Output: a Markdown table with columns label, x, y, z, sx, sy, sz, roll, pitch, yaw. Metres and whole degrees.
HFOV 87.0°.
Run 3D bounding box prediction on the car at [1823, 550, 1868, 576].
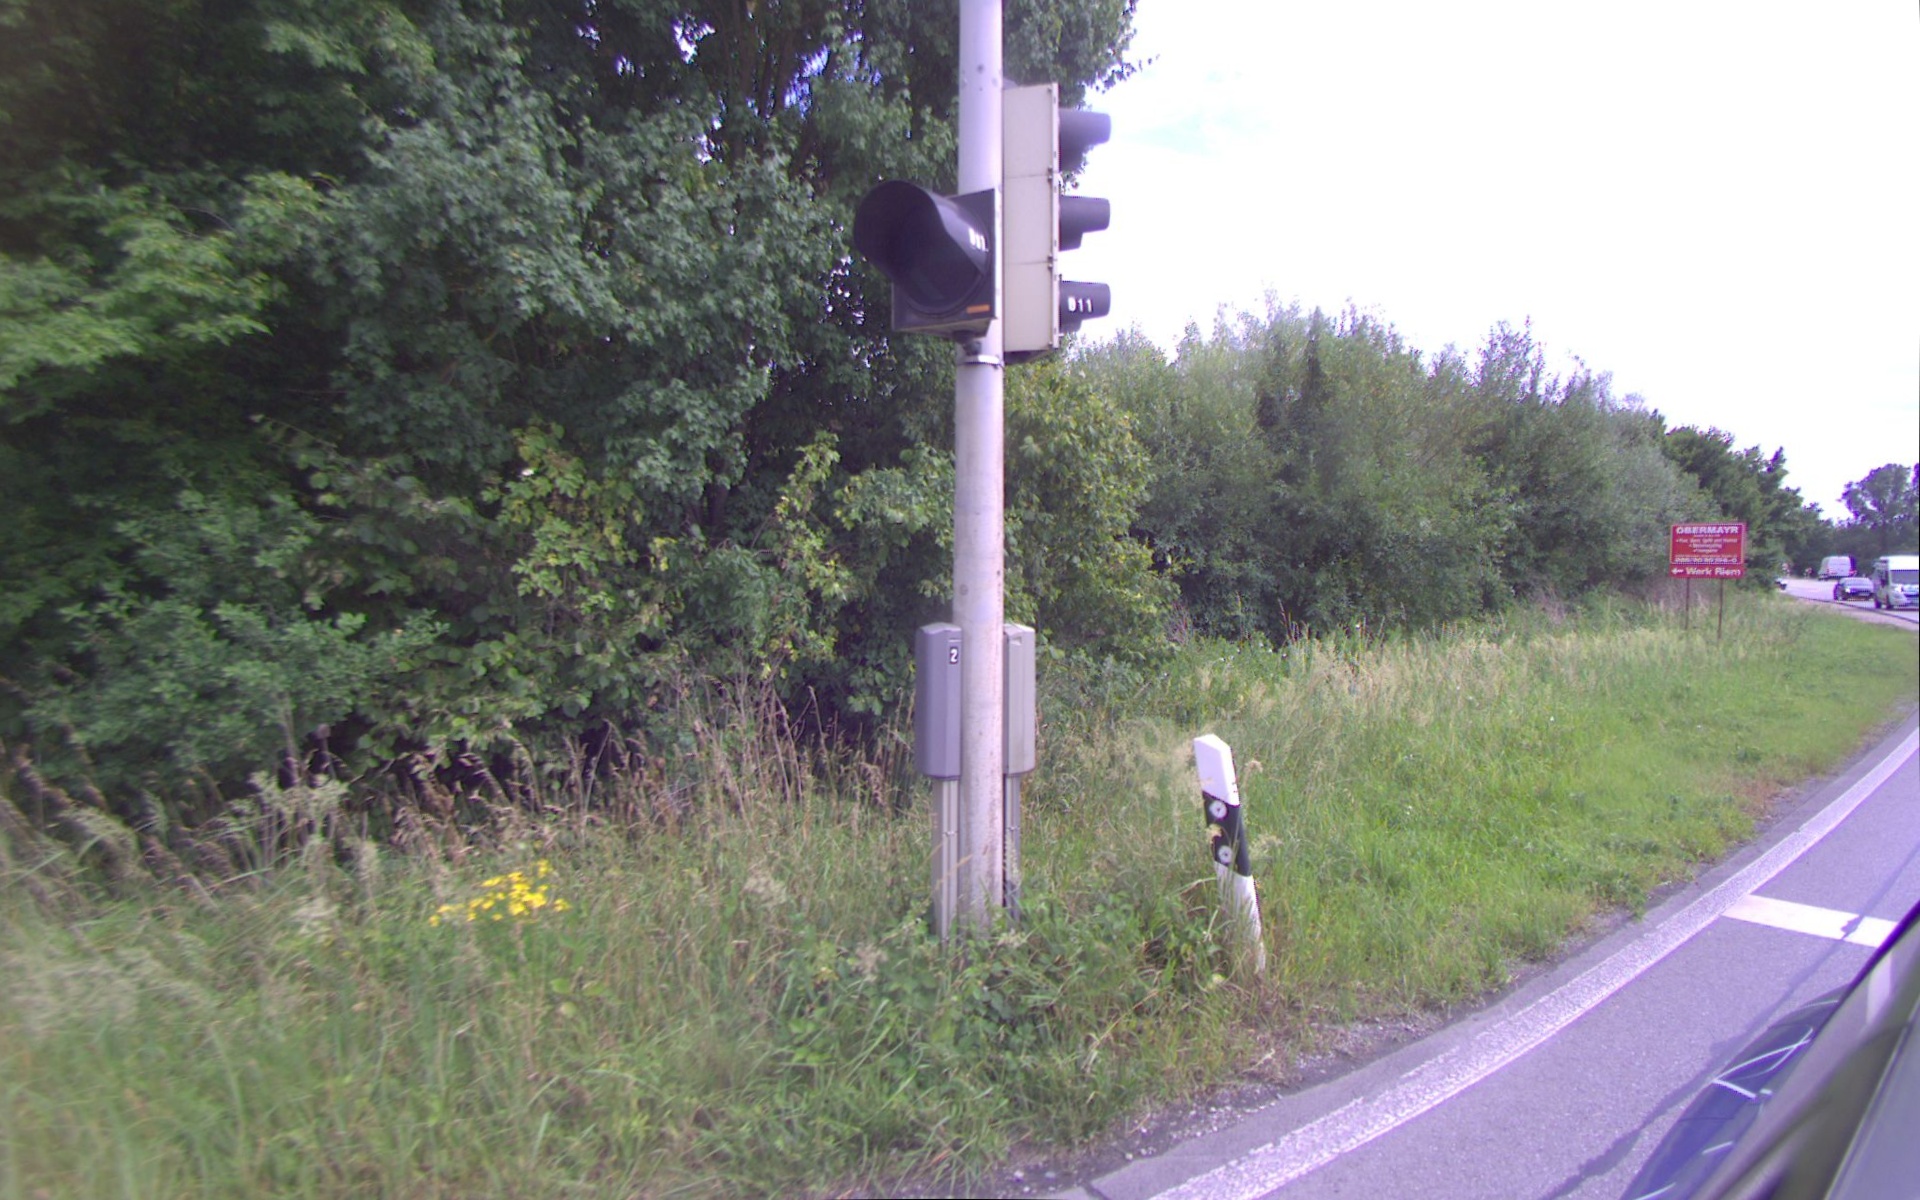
| label | x | y | z | sx | sy | sz | roll | pitch | yaw |
| --- | --- | --- | --- | --- | --- | --- | --- | --- | --- |
| car | 96.673 | -4.017 | 110.567 | 2.421 | 2.707 | 6.815 | 0 | 2 | 31 |

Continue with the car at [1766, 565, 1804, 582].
| label | x | y | z | sx | sy | sz | roll | pitch | yaw |
| --- | --- | --- | --- | --- | --- | --- | --- | --- | --- |
| car | 71.101 | -2.297 | 87.249 | 1.716 | 1.381 | 3.962 | 2 | 2 | 28 |

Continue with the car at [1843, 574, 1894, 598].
| label | x | y | z | sx | sy | sz | roll | pitch | yaw |
| --- | --- | --- | --- | --- | --- | --- | --- | --- | --- |
| car | 57.058 | -0.908 | 63.621 | 1.719 | 1.381 | 3.954 | 2 | 2 | 33 |

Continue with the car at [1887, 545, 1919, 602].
| label | x | y | z | sx | sy | sz | roll | pitch | yaw |
| --- | --- | --- | --- | --- | --- | --- | --- | --- | --- |
| car | 48.222 | -1.359 | 50.731 | 2.209 | 2.704 | 5.166 | -2 | 0 | 39 |
